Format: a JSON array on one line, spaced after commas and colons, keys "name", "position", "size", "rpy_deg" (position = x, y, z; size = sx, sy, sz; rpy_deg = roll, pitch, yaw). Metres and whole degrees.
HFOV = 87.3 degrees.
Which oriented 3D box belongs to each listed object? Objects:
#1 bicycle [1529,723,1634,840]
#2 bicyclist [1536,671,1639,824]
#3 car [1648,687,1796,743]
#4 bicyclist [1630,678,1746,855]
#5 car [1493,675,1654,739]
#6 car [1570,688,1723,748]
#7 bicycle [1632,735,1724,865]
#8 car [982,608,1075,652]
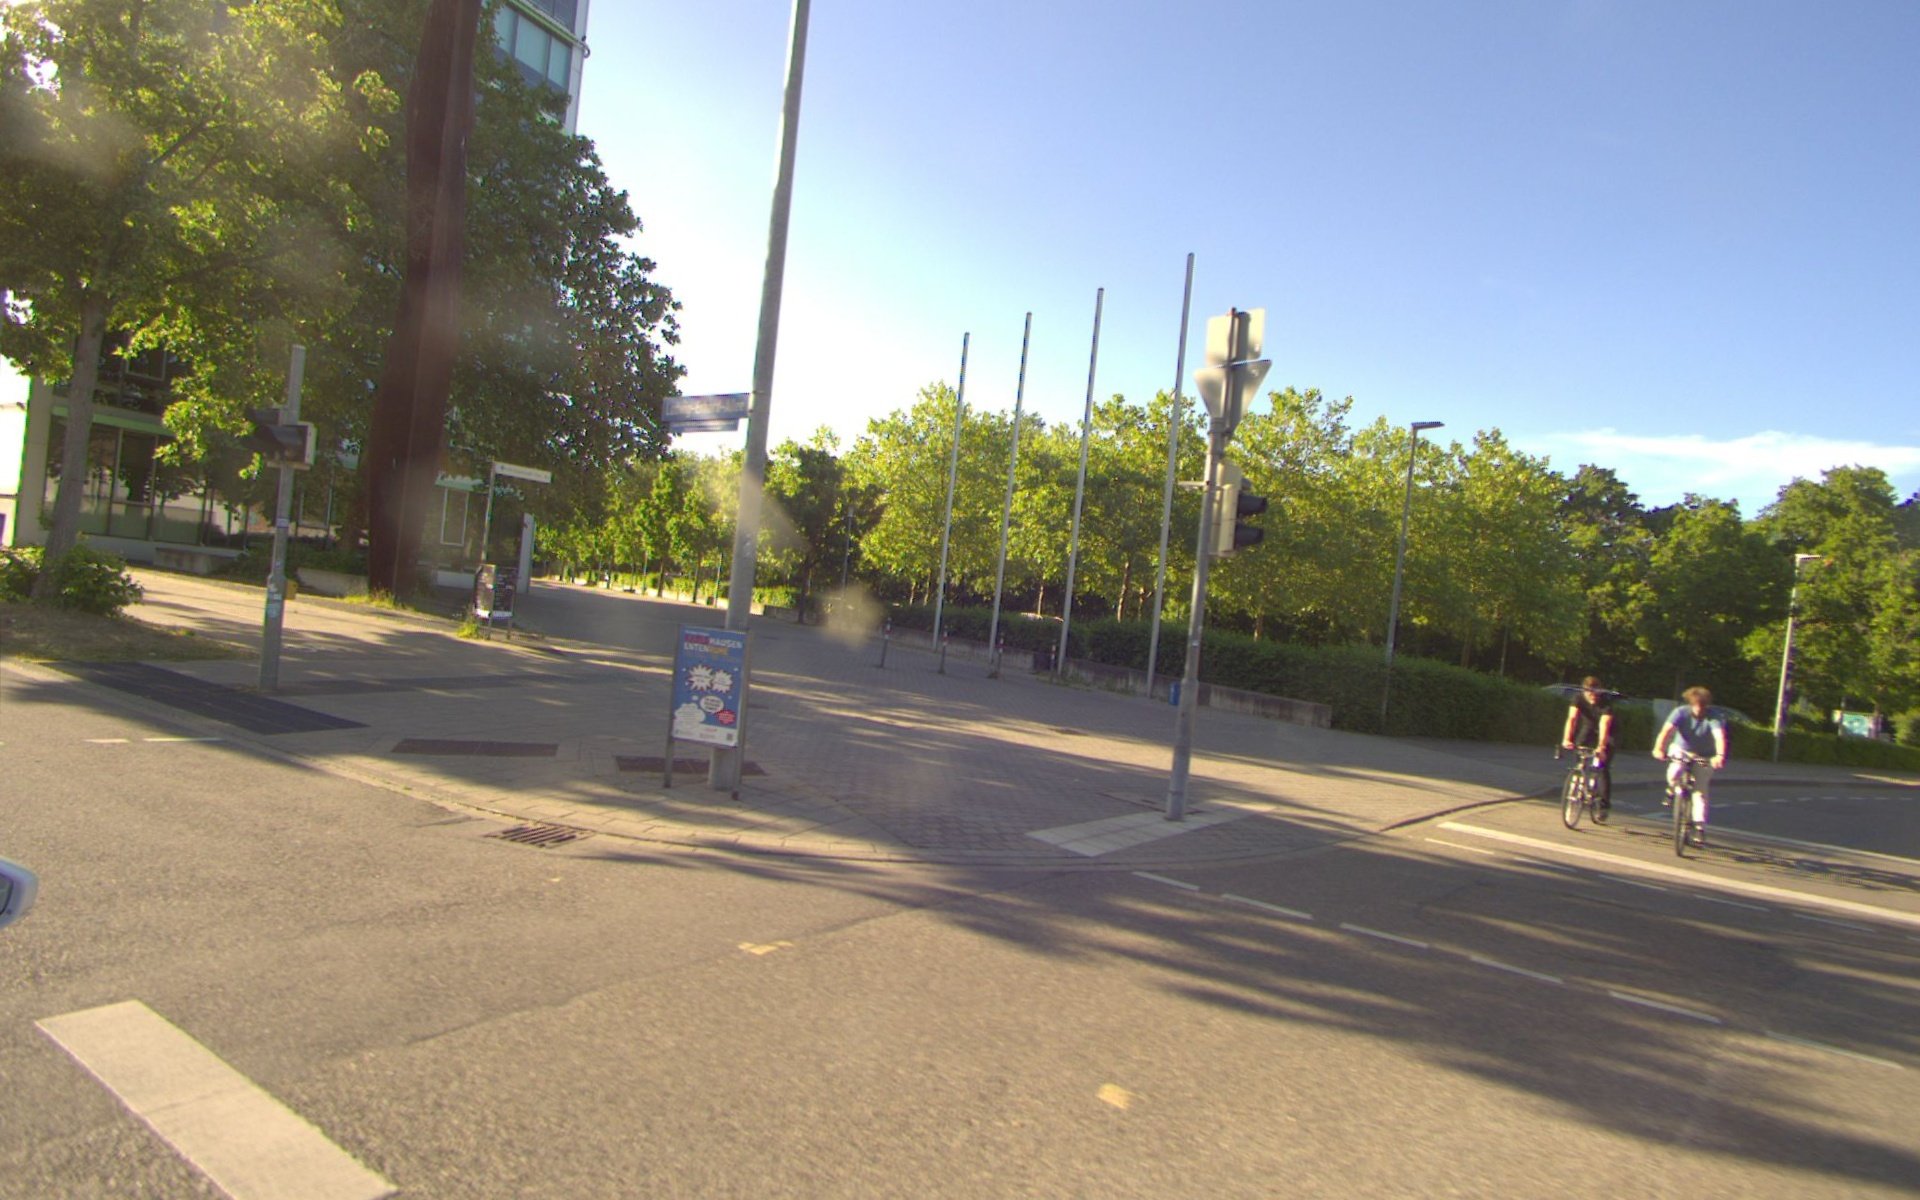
[{"name": "bicycle", "position": [7.521, 2.132, 12.121], "size": [0.544, 1.218, 2.092], "rpy_deg": [7, 0, 44]}, {"name": "bicyclist", "position": [7.583, 1.751, 12.151], "size": [0.782, 1.674, 0.873], "rpy_deg": [7, 1, 41]}, {"name": "car", "position": [29.030, 4.369, 38.438], "size": [1.978, 1.482, 3.972], "rpy_deg": [8, -2, -28]}, {"name": "bicyclist", "position": [8.084, 1.808, 11.167], "size": [0.820, 1.759, 0.873], "rpy_deg": [7, 1, 41]}, {"name": "car", "position": [20.213, 3.494, 33.295], "size": [1.980, 1.482, 3.969], "rpy_deg": [8, -2, -31]}, {"name": "car", "position": [24.592, 4.193, 36.161], "size": [1.980, 1.482, 3.969], "rpy_deg": [8, -2, -31]}, {"name": "bicycle", "position": [8.050, 2.173, 11.246], "size": [0.543, 1.218, 2.094], "rpy_deg": [7, 0, 41]}, {"name": "car", "position": [2.938, 1.276, 43.975], "size": [1.980, 1.482, 3.969], "rpy_deg": [8, -2, -31]}]
